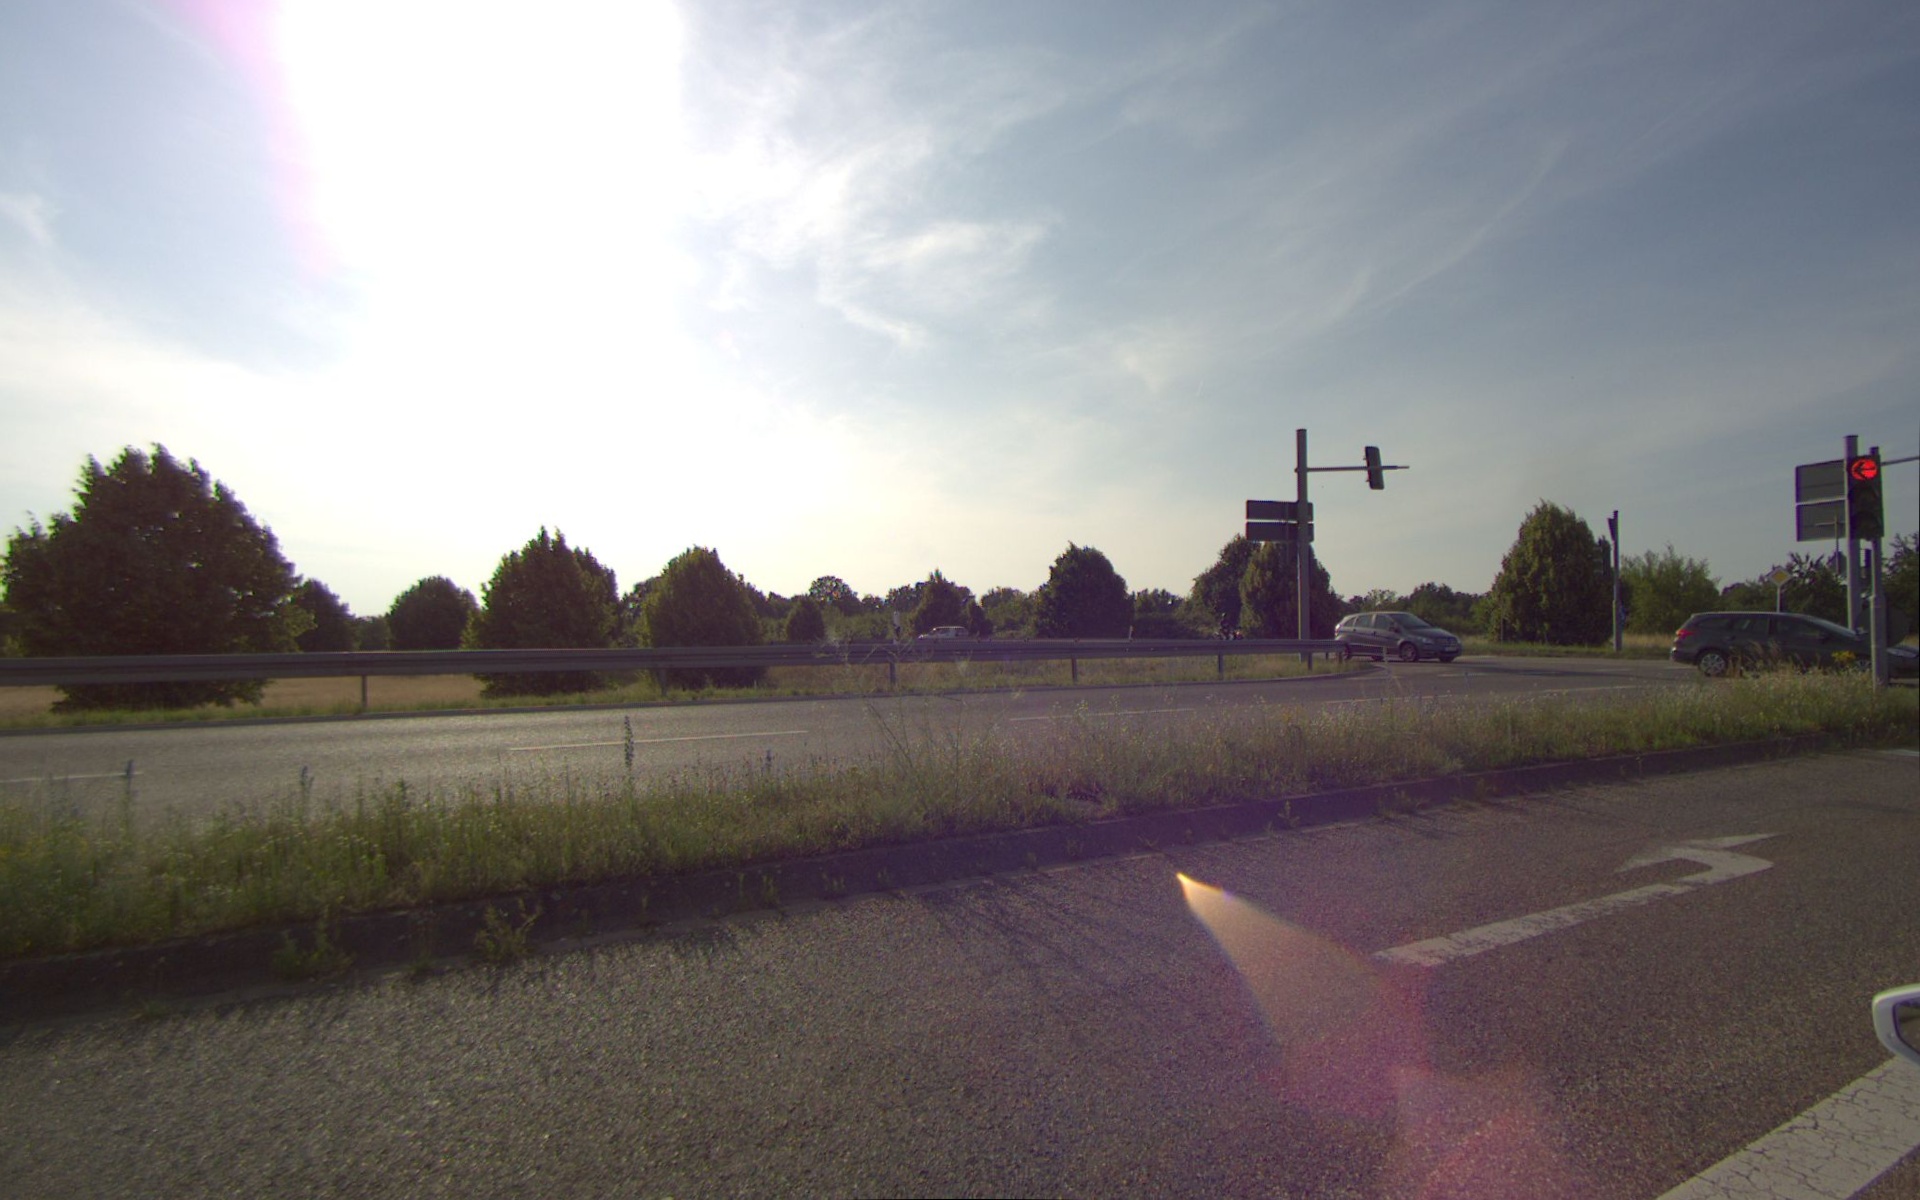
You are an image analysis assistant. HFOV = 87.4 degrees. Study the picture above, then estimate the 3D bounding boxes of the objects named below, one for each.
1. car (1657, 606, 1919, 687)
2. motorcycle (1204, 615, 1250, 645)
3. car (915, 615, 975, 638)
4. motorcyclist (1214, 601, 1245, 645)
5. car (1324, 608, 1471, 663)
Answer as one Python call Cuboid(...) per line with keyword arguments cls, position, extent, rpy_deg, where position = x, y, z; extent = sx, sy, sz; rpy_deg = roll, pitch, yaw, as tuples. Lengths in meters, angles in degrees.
Cuboid(cls="car", position=(18.559, 0.966, 22.550), extent=(1.800, 1.586, 4.480), rpy_deg=(1, -1, -39))
Cuboid(cls="motorcycle", position=(10.807, 1.219, 40.796), extent=(0.924, 1.139, 2.166), rpy_deg=(1, 0, -12))
Cuboid(cls="car", position=(-1.059, 1.814, 69.356), extent=(1.986, 1.560, 3.949), rpy_deg=(1, -1, -43))
Cuboid(cls="motorcyclist", position=(10.890, 0.919, 40.623), extent=(0.891, 1.781, 0.830), rpy_deg=(1, 0, -12))
Cuboid(cls="car", position=(13.910, 1.095, 32.188), extent=(1.766, 1.626, 4.170), rpy_deg=(2, -1, -25))
